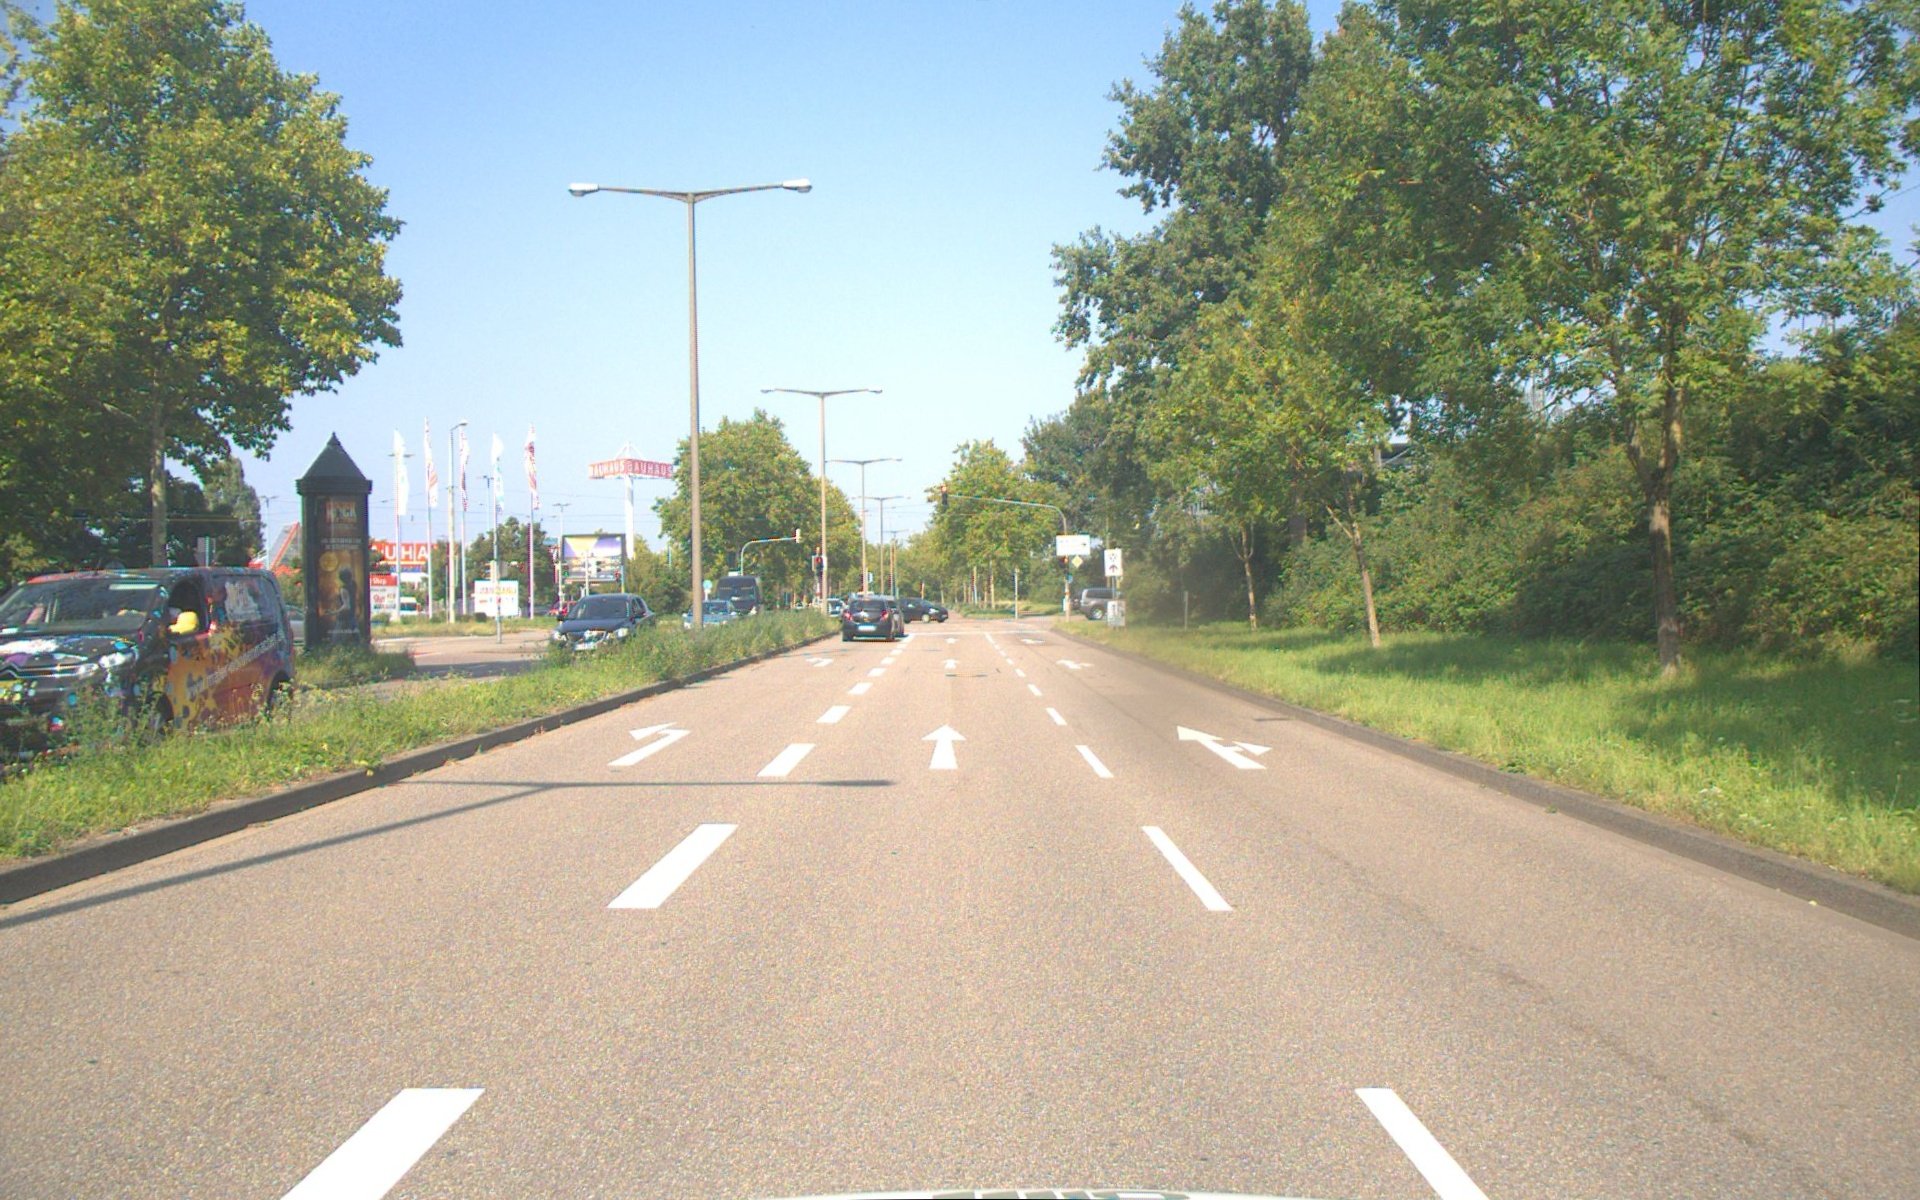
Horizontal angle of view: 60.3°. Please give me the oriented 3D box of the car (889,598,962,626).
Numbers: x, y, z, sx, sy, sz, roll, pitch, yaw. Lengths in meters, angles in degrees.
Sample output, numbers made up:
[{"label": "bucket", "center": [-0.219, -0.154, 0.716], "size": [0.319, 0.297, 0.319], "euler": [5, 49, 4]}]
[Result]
[{"label": "car", "center": [-1.956, 0.702, 95.243], "size": [3.877, 1.560, 1.825], "euler": [0, 0, 11]}]

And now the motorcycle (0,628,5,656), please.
[{"label": "motorcycle", "center": [-33.682, 1.452, 56.570], "size": [1.702, 0.961, 0.703], "euler": [0, 0, -36]}]

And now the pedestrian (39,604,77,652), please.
[{"label": "pedestrian", "center": [-30.960, 0.956, 56.782], "size": [1.046, 1.602, 0.857], "euler": [0, -1, -36]}]

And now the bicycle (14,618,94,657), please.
[{"label": "bicycle", "center": [-31.056, 1.274, 56.736], "size": [2.335, 1.257, 0.863], "euler": [0, 0, -37]}]

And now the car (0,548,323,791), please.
[{"label": "car", "center": [-8.174, 0.610, 16.515], "size": [1.893, 2.063, 4.565], "euler": [-2, 0, -1]}]

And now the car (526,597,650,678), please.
[{"label": "car", "center": [-8.490, 0.815, 38.104], "size": [1.953, 1.736, 4.503], "euler": [0, 0, -2]}]

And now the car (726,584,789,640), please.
[{"label": "car", "center": [-9.016, 0.532, 74.092], "size": [2.069, 2.373, 6.281], "euler": [0, 0, -1]}]

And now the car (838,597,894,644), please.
[{"label": "car", "center": [-3.188, 0.675, 56.669], "size": [1.657, 1.512, 3.999], "euler": [-2, 0, 0]}]

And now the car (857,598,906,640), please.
[{"label": "car", "center": [-2.947, 0.692, 62.948], "size": [1.657, 1.512, 3.999], "euler": [-2, 0, 0]}]

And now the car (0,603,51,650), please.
[{"label": "car", "center": [-34.234, 0.937, 57.713], "size": [4.268, 1.606, 1.550], "euler": [0, 0, -39]}]

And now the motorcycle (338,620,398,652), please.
[{"label": "motorcycle", "center": [-22.569, 1.364, 63.080], "size": [2.053, 1.156, 0.669], "euler": [0, -1, -36]}]

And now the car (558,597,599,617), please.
[{"label": "car", "center": [-39.718, 0.682, 172.262], "size": [1.955, 2.049, 4.286], "euler": [-1, 0, 27]}]

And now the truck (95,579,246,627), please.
[{"label": "truck", "center": [-54.272, 0.155, 113.835], "size": [8.916, 3.009, 3.469], "euler": [-2, 0, -37]}]

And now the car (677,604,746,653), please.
[{"label": "car", "center": [-8.417, 0.959, 56.342], "size": [1.737, 1.601, 4.000], "euler": [0, 0, 0]}]

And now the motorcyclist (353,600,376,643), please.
[{"label": "motorcyclist", "center": [-22.680, 0.814, 63.003], "size": [0.676, 1.599, 0.675], "euler": [0, -1, -36]}]

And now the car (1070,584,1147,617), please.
[{"label": "car", "center": [8.566, 0.028, 95.541], "size": [4.183, 1.868, 1.910], "euler": [0, 0, -6]}]
